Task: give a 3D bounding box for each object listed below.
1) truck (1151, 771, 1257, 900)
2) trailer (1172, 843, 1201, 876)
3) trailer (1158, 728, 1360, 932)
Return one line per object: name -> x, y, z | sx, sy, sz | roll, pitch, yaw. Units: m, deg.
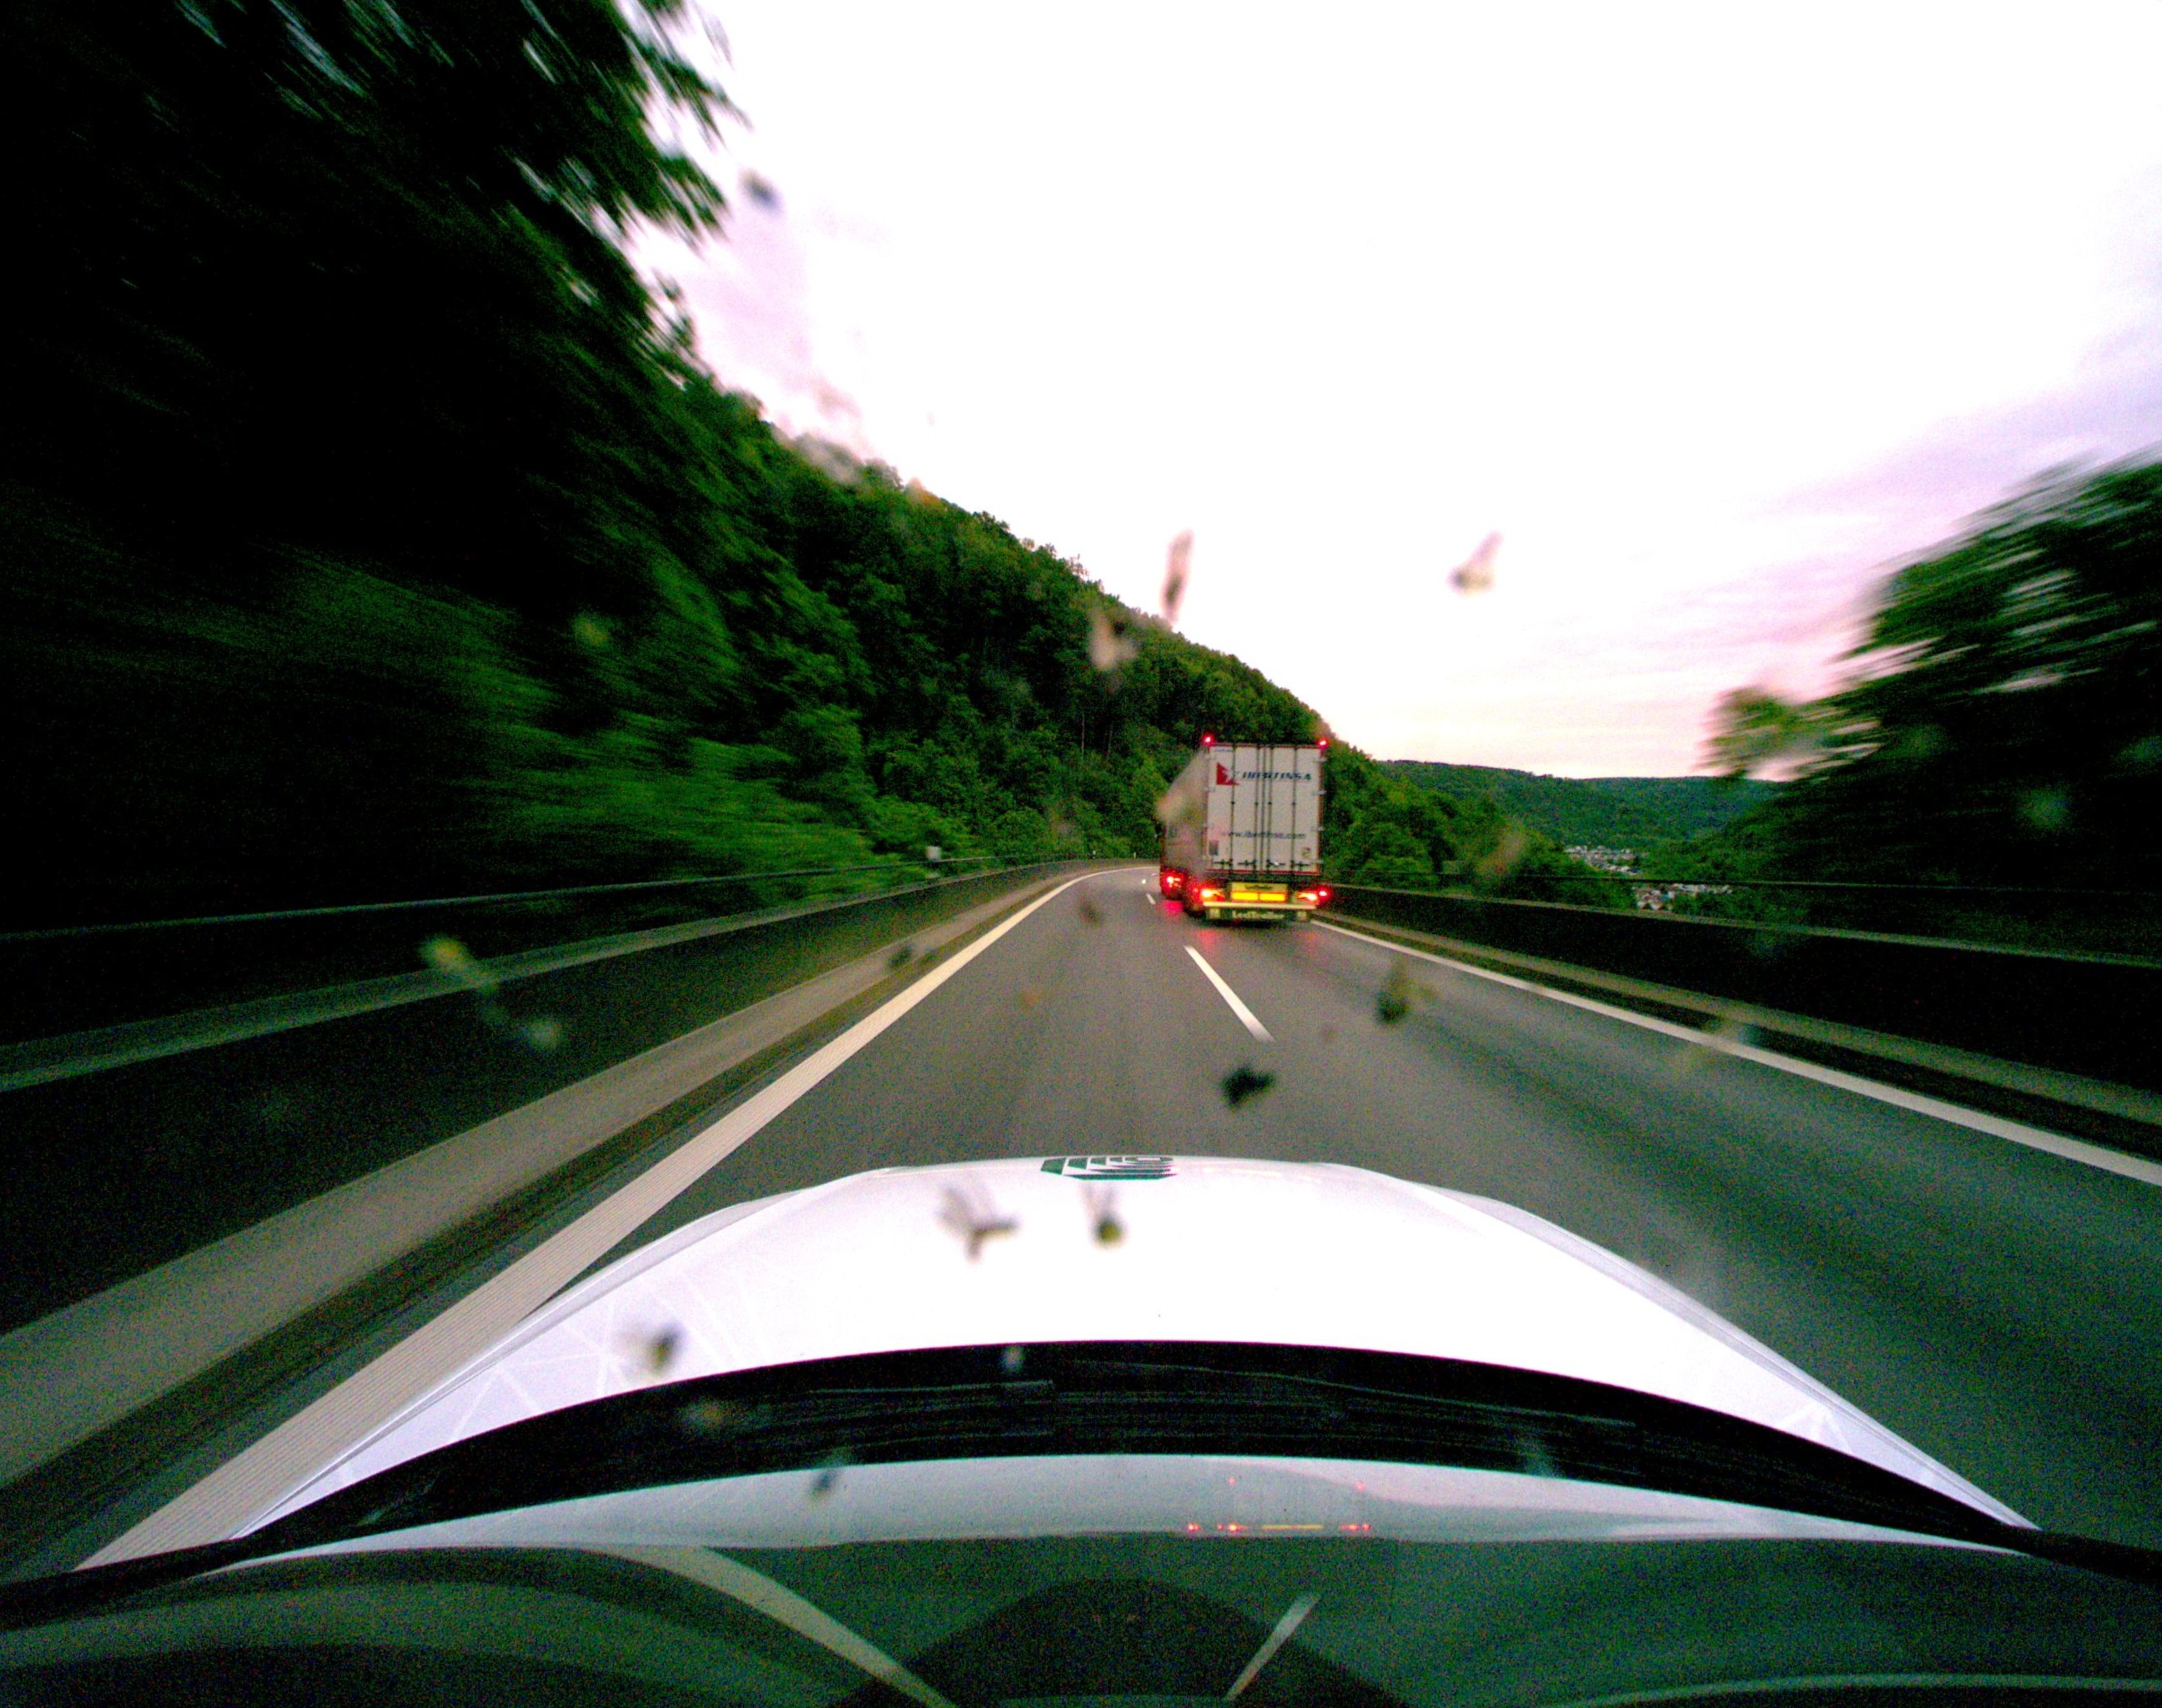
truck -> 4.435, -0.607, 30.773 | 3.057, 4.144, 6.451 | -4, -1, 3
trailer -> 8.505, 0.401, 65.210 | 2.043, 2.374, 5.952 | 4, 1, 8
trailer -> 4.250, -0.457, 23.469 | 3.085, 3.970, 14.224 | 2, 0, 2
